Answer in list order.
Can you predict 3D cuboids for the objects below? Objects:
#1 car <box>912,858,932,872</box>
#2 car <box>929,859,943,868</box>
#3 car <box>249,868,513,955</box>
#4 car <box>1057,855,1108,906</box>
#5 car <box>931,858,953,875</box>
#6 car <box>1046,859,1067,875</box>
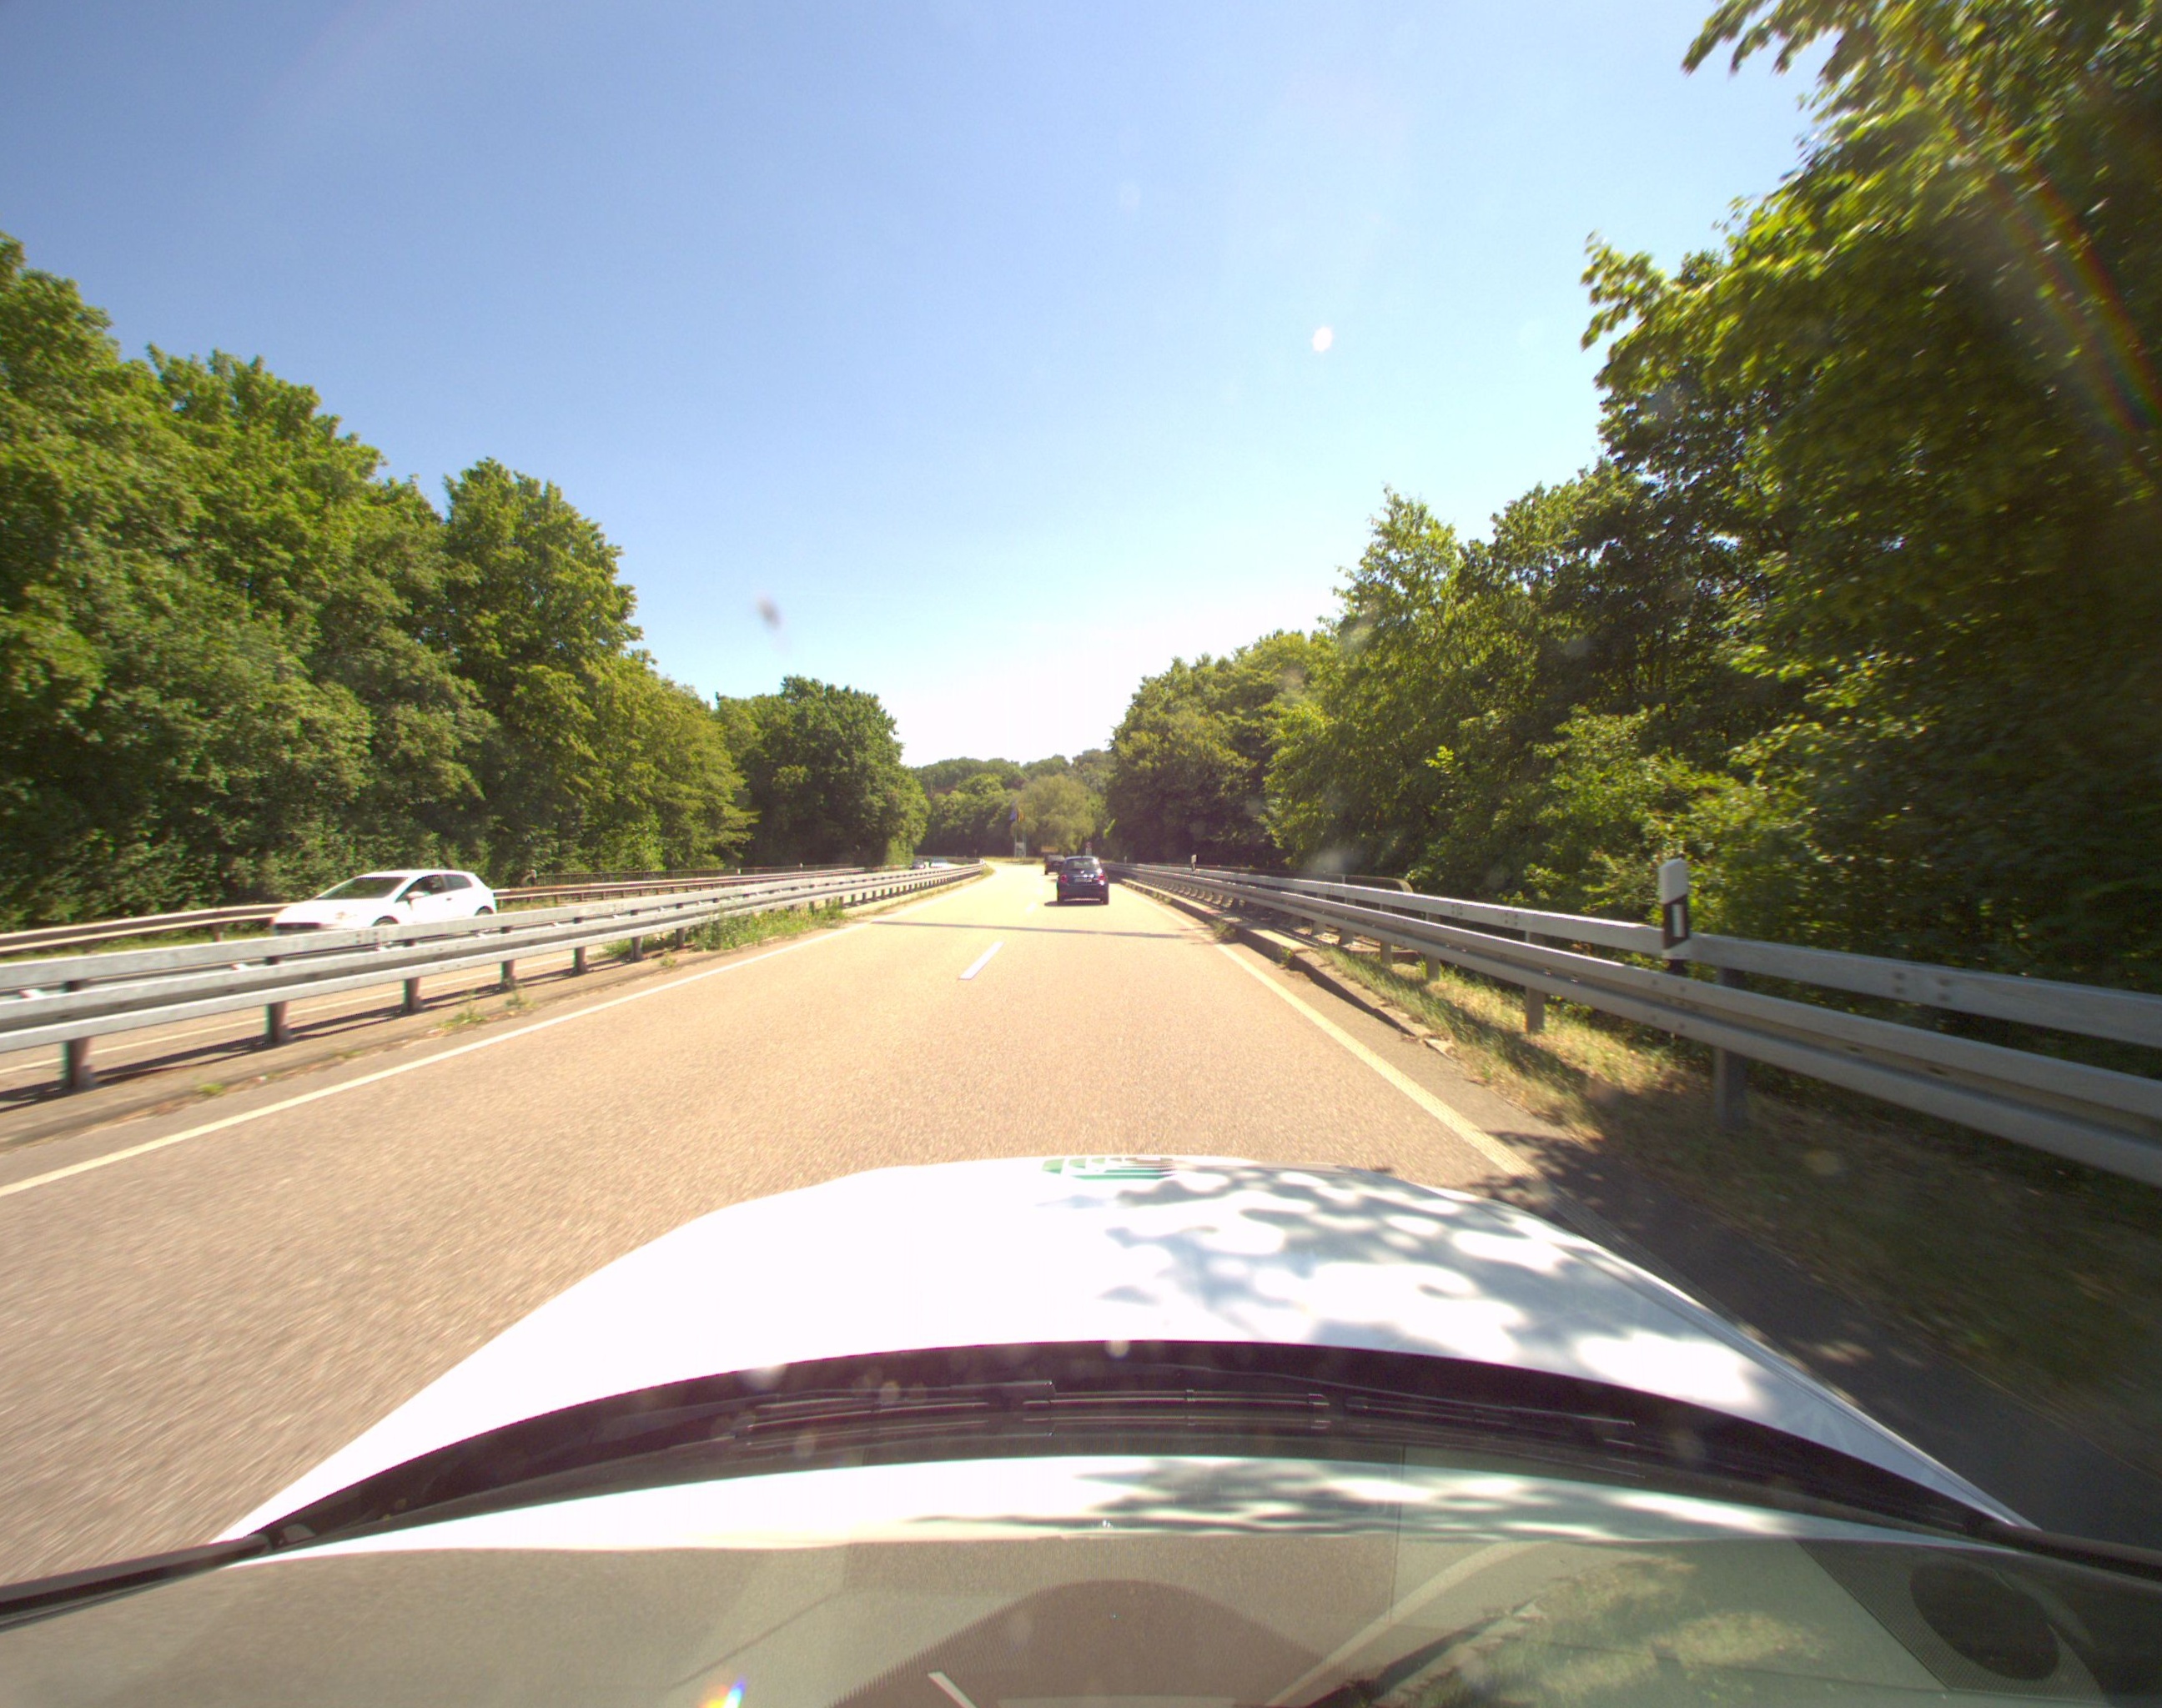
[{"bbox_3d":[-17.922,1.261,91.946,1.647,1.528,3.994,-1,0,-3],"label":"car"},{"bbox_3d":[-25.209,1.636,141.891,1.752,1.528,4.679,-1,0,-3],"label":"car"},{"bbox_3d":[-13.840,1.050,16.506,1.645,1.447,4.219,-1,0,0],"label":"car"},{"bbox_3d":[0.090,0.788,26.113,1.508,1.501,3.591,-1,0,1],"label":"car"},{"bbox_3d":[-13.913,1.241,81.795,1.647,1.606,4.215,-1,0,-3],"label":"car"},{"bbox_3d":[-2.115,1.075,69.668,1.523,1.313,3.407,-1,0,-6],"label":"car"}]
